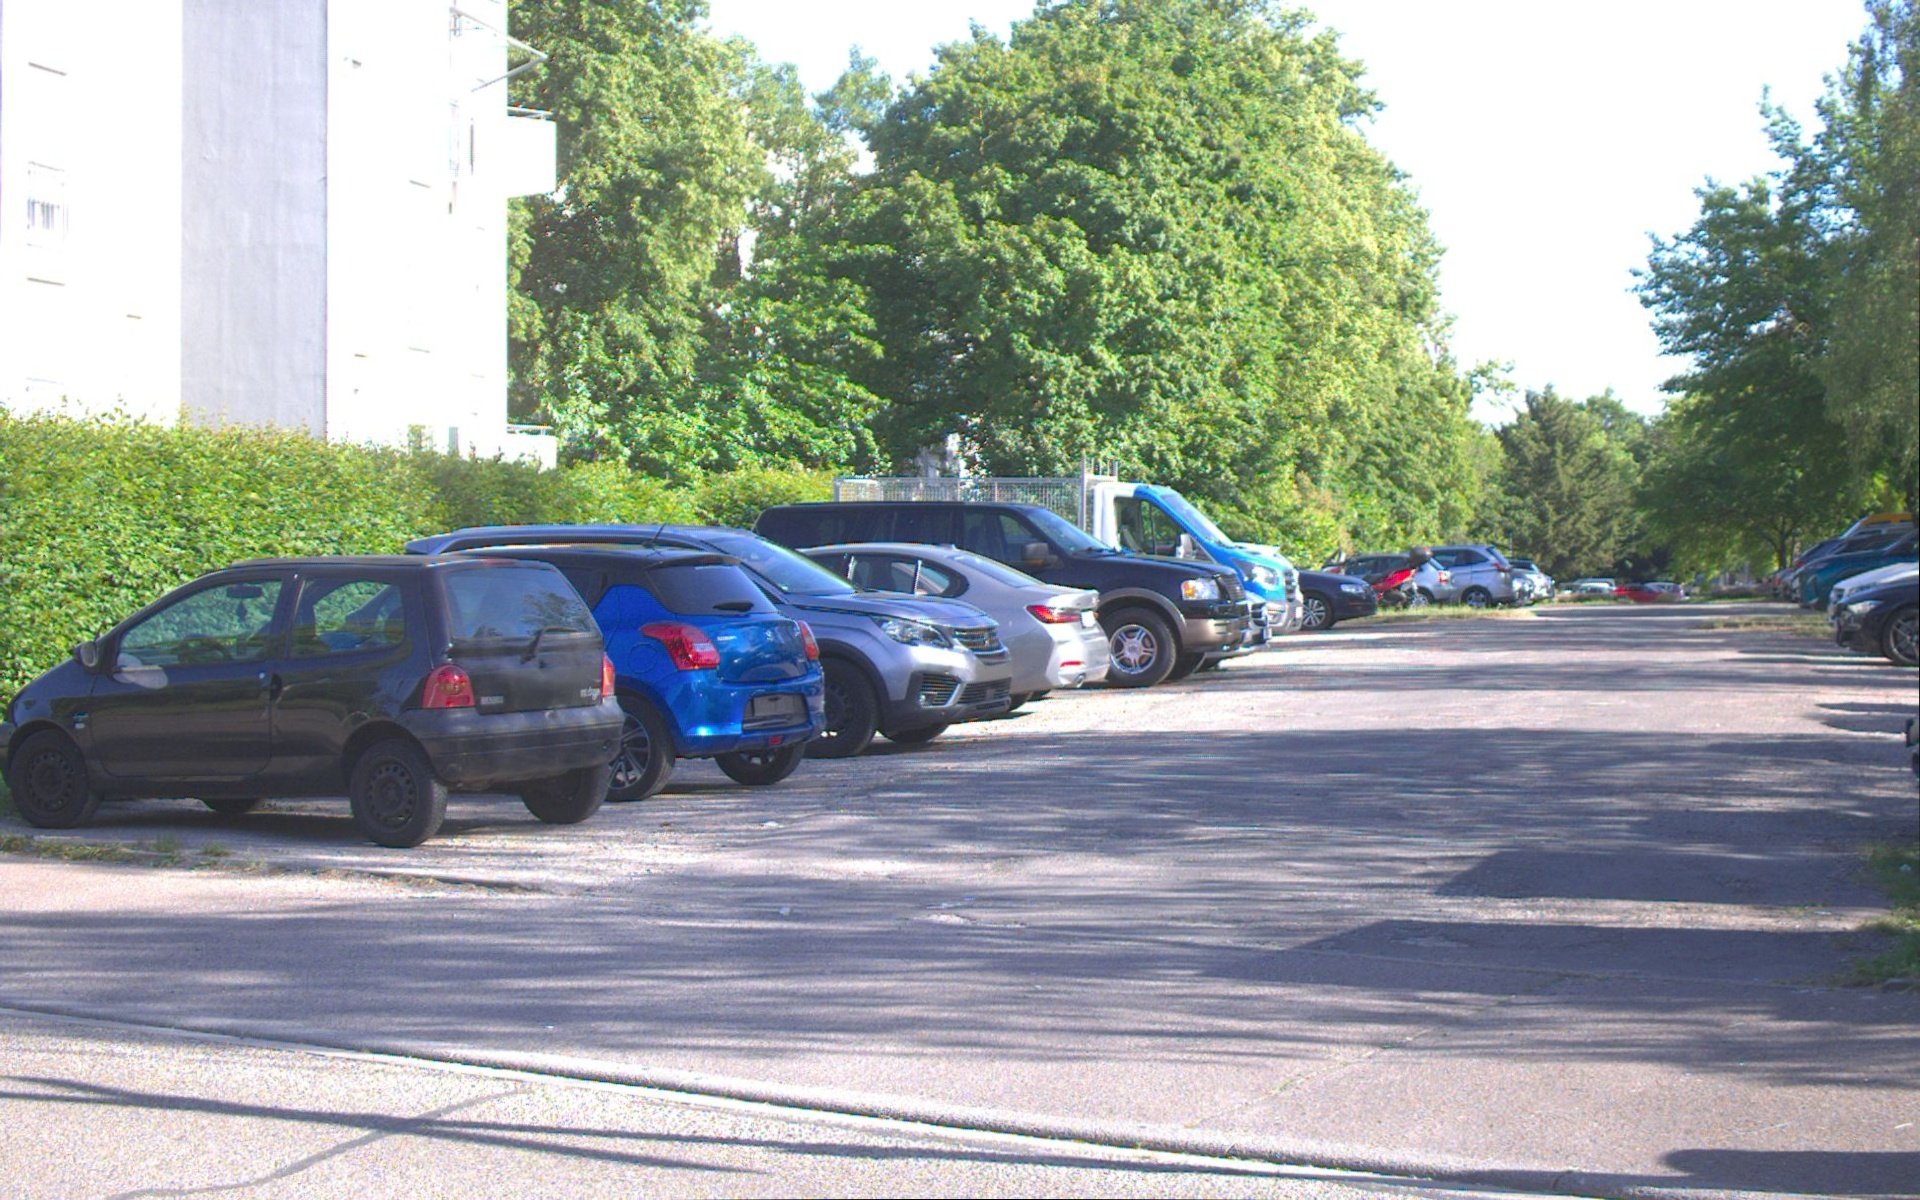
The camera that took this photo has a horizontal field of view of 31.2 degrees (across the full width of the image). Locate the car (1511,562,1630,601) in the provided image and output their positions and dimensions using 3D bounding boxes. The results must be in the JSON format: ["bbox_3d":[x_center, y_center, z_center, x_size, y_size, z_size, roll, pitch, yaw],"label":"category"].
[{"bbox_3d":[19.349,-0.590,108.919,3.646,1.208,1.846,0,1,13],"label":"car"}]

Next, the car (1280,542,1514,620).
[{"bbox_3d":[7.719,-0.351,60.624,3.942,1.329,1.846,0,1,13],"label":"car"}]

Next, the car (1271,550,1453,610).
[{"bbox_3d":[9.151,-0.470,78.120,3.942,1.329,1.846,0,1,13],"label":"car"}]

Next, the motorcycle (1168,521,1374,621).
[{"bbox_3d":[5.006,-0.478,55.305,3.193,1.590,0.922,0,1,15],"label":"motorcycle"}]

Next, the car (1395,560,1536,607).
[{"bbox_3d":[14.778,-0.488,100.520,3.942,1.329,1.846,0,1,13],"label":"car"}]

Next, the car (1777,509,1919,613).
[{"bbox_3d":[14.897,-0.593,53.802,3.990,1.580,1.796,1,1,17],"label":"car"}]

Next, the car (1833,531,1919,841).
[{"bbox_3d":[6.300,0.446,15.986,4.058,1.434,1.632,2,1,27],"label":"car"}]

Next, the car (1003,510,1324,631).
[{"bbox_3d":[3.060,-0.463,51.479,4.525,1.765,1.846,0,1,15],"label":"car"}]

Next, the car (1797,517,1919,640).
[{"bbox_3d":[13.198,-0.270,45.532,3.990,1.580,1.796,1,1,17],"label":"car"}]

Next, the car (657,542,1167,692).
[{"bbox_3d":[-0.431,0.128,32.294,4.455,1.330,1.846,0,1,16],"label":"car"}]

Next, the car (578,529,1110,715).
[{"bbox_3d":[-0.938,0.178,28.592,4.145,1.450,1.618,-1,0,11],"label":"car"}]

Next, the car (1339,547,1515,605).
[{"bbox_3d":[11.022,-0.577,81.053,3.942,1.329,1.846,0,1,13],"label":"car"}]

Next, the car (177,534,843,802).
[{"bbox_3d":[-2.730,0.374,20.807,3.685,1.491,1.649,0,1,26],"label":"car"}]

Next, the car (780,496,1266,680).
[{"bbox_3d":[0.642,-0.146,34.496,4.526,1.765,1.845,0,1,19],"label":"car"}]

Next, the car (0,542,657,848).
[{"bbox_3d":[-3.564,0.439,18.446,3.528,1.461,1.701,1,2,30],"label":"car"}]

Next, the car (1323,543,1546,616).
[{"bbox_3d":[8.793,-0.393,63.613,3.942,1.329,1.846,0,1,13],"label":"car"}]

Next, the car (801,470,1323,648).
[{"bbox_3d":[1.327,-0.533,43.340,6.259,2.139,2.410,0,1,12],"label":"car"}]

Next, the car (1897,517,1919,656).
[{"bbox_3d":[12.841,-0.123,39.402,3.990,1.580,1.796,1,1,17],"label":"car"}]

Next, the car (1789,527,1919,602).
[{"bbox_3d":[21.756,-0.840,81.505,3.990,1.702,1.796,1,1,17],"label":"car"}]

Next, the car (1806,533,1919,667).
[{"bbox_3d":[11.174,0.021,36.829,3.990,1.396,1.796,1,1,17],"label":"car"}]

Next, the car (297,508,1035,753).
[{"bbox_3d":[-2.120,0.204,24.815,4.996,1.649,1.783,0,1,19],"label":"car"}]
